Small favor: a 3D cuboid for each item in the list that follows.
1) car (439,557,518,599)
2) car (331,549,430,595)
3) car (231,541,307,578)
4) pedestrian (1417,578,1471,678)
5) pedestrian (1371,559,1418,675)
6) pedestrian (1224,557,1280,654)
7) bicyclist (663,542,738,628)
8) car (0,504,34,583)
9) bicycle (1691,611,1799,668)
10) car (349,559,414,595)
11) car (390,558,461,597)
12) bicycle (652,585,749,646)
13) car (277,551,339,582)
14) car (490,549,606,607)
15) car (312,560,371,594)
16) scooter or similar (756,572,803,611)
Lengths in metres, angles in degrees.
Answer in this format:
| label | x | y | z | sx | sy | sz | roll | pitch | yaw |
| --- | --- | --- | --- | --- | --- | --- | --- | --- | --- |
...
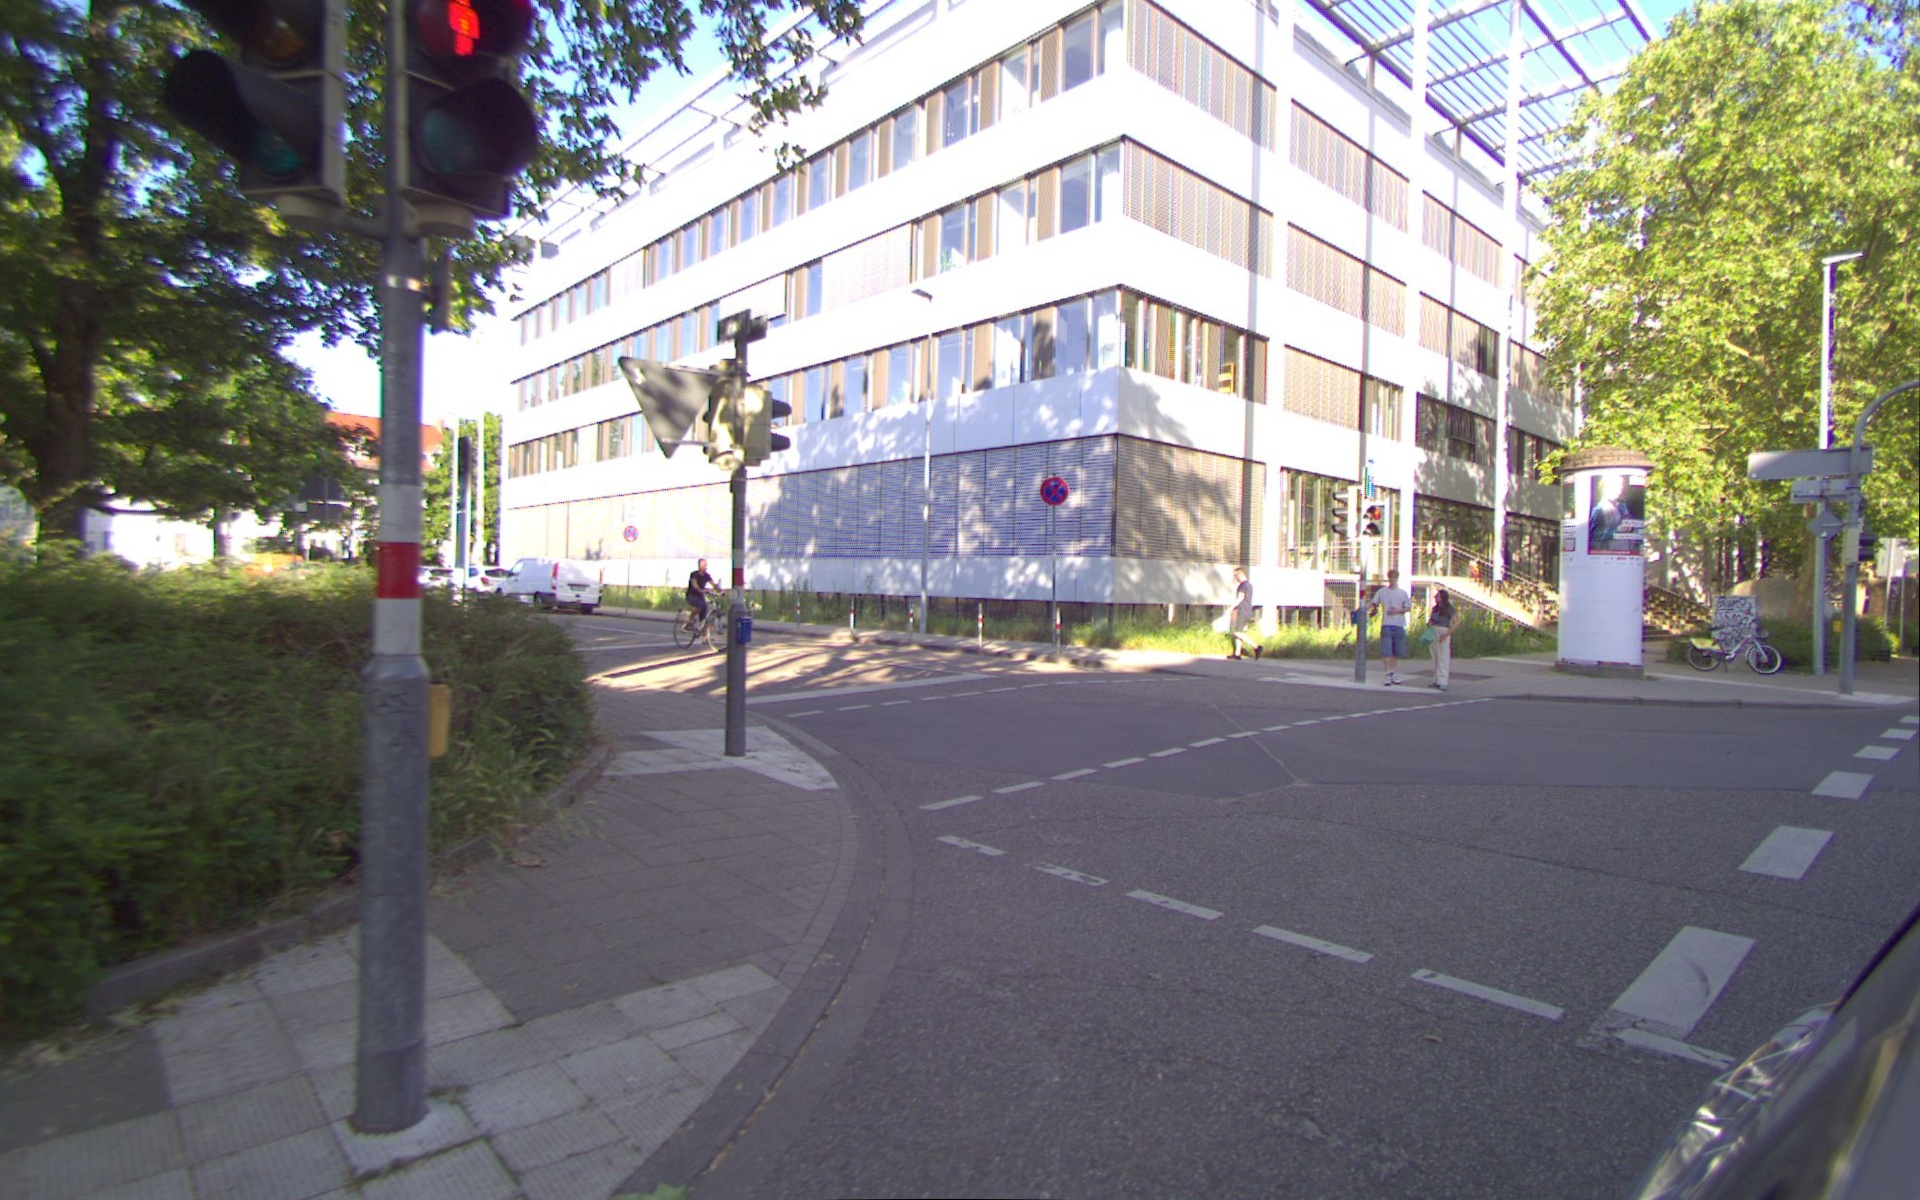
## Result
| label | x | y | z | sx | sy | sz | roll | pitch | yaw |
| --- | --- | --- | --- | --- | --- | --- | --- | --- | --- |
| car | -18.508 | -0.857 | 38.841 | 1.603 | 1.503 | 3.842 | 1 | 2 | -44 |
| car | -36.971 | -1.743 | 64.708 | 1.987 | 2.651 | 5.056 | 4 | 2 | 33 |
| car | -37.933 | -2.245 | 55.508 | 4.889 | 1.808 | 2.061 | 5 | 3 | 39 |
| pedestrian | 7.699 | 0.434 | 16.101 | 0.669 | 1.543 | 0.554 | 2 | 0 | 36 |
| pedestrian | 7.167 | 0.261 | 16.703 | 0.599 | 1.862 | 0.563 | 1 | 0 | 32 |
| pedestrian | 5.620 | 0.091 | 19.509 | 0.982 | 1.793 | 0.603 | 2 | 3 | 16 |
| bicyclist | -4.860 | -0.283 | 18.956 | 1.082 | 1.555 | 0.865 | 2 | 1 | 39 |
| car | -33.653 | -1.923 | 32.980 | 5.074 | 2.604 | 1.995 | 1 | 1 | -44 |
| bicycle | 16.474 | 0.816 | 21.277 | 1.618 | 1.011 | 0.618 | 4 | 4 | 23 |
| car | -26.003 | -1.038 | 45.424 | 1.603 | 1.503 | 3.842 | 1 | 2 | -44 |
| car | -22.382 | -0.957 | 42.319 | 1.603 | 1.503 | 3.842 | 1 | 2 | -44 |
| bicycle | -4.881 | 0.262 | 18.975 | 2.014 | 1.029 | 0.708 | 3 | 2 | 39 |
| car | -33.606 | -1.733 | 52.134 | 3.585 | 1.509 | 1.607 | 3 | 1 | 39 |
| car | -14.191 | -0.786 | 34.707 | 2.074 | 1.851 | 4.709 | 1 | 2 | -44 |
| car | -30.008 | -1.131 | 49.066 | 1.603 | 1.503 | 3.842 | 1 | 2 | -44 |
| scooter or similar | -5.793 | -0.293 | 32.404 | 1.554 | 1.194 | 0.688 | 3 | 1 | 45 |
